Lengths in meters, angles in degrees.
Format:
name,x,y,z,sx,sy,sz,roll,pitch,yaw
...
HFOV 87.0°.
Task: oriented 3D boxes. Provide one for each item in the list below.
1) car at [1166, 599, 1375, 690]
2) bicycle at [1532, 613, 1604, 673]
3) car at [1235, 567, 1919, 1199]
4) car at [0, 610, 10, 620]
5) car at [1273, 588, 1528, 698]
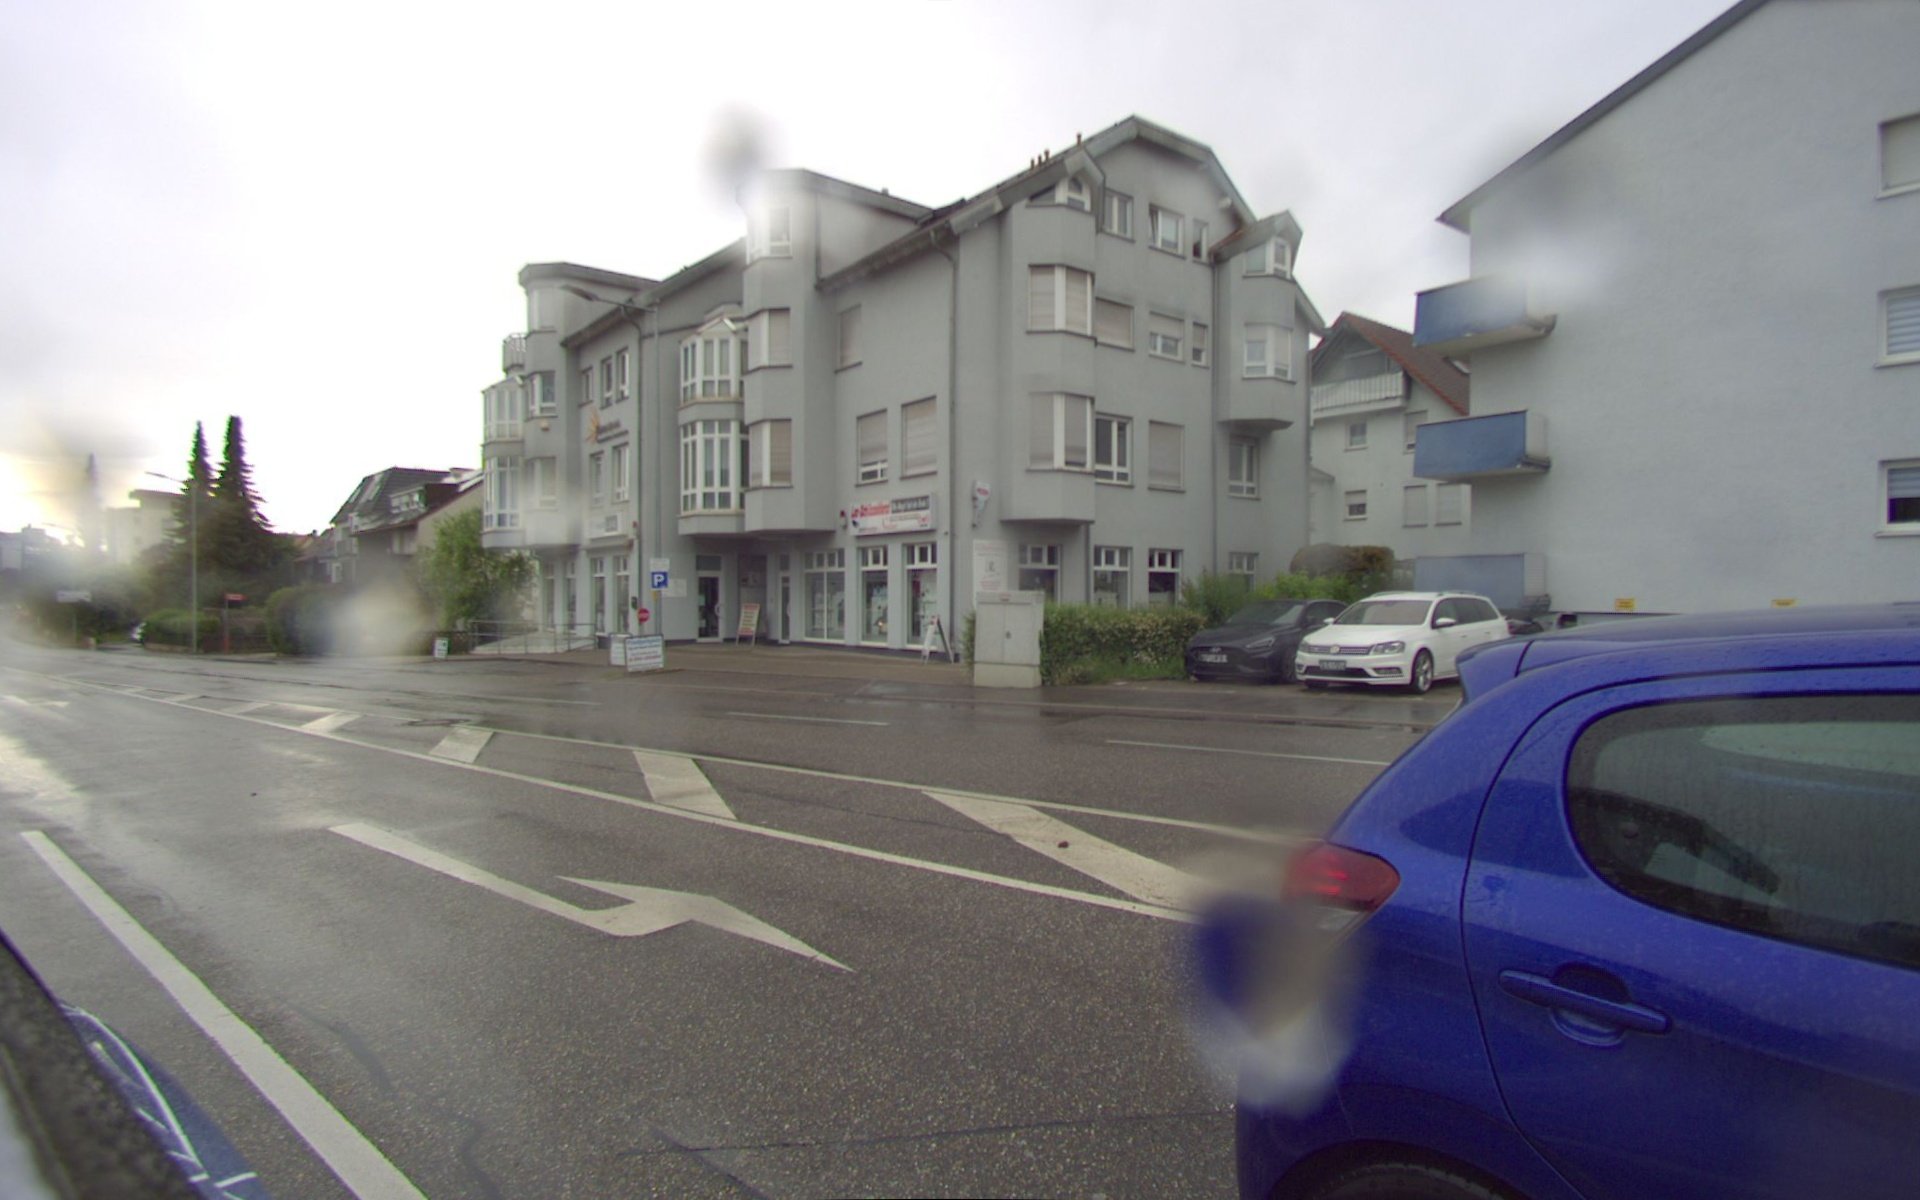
name,x,y,z,sx,sy,sz,roll,pitch,yaw
car,5.496,0.690,17.652,1.851,1.366,3.941,-1,0,45
bicycle,11.146,0.792,18.563,1.065,1.061,0.343,-2,-1,41
car,2.238,0.644,1.199,3.362,1.423,1.489,-2,-1,41
car,-164.326,2.585,173.361,4.001,1.798,1.972,-1,0,43
car,6.984,0.604,15.807,4.685,1.471,1.883,0,-2,-42
